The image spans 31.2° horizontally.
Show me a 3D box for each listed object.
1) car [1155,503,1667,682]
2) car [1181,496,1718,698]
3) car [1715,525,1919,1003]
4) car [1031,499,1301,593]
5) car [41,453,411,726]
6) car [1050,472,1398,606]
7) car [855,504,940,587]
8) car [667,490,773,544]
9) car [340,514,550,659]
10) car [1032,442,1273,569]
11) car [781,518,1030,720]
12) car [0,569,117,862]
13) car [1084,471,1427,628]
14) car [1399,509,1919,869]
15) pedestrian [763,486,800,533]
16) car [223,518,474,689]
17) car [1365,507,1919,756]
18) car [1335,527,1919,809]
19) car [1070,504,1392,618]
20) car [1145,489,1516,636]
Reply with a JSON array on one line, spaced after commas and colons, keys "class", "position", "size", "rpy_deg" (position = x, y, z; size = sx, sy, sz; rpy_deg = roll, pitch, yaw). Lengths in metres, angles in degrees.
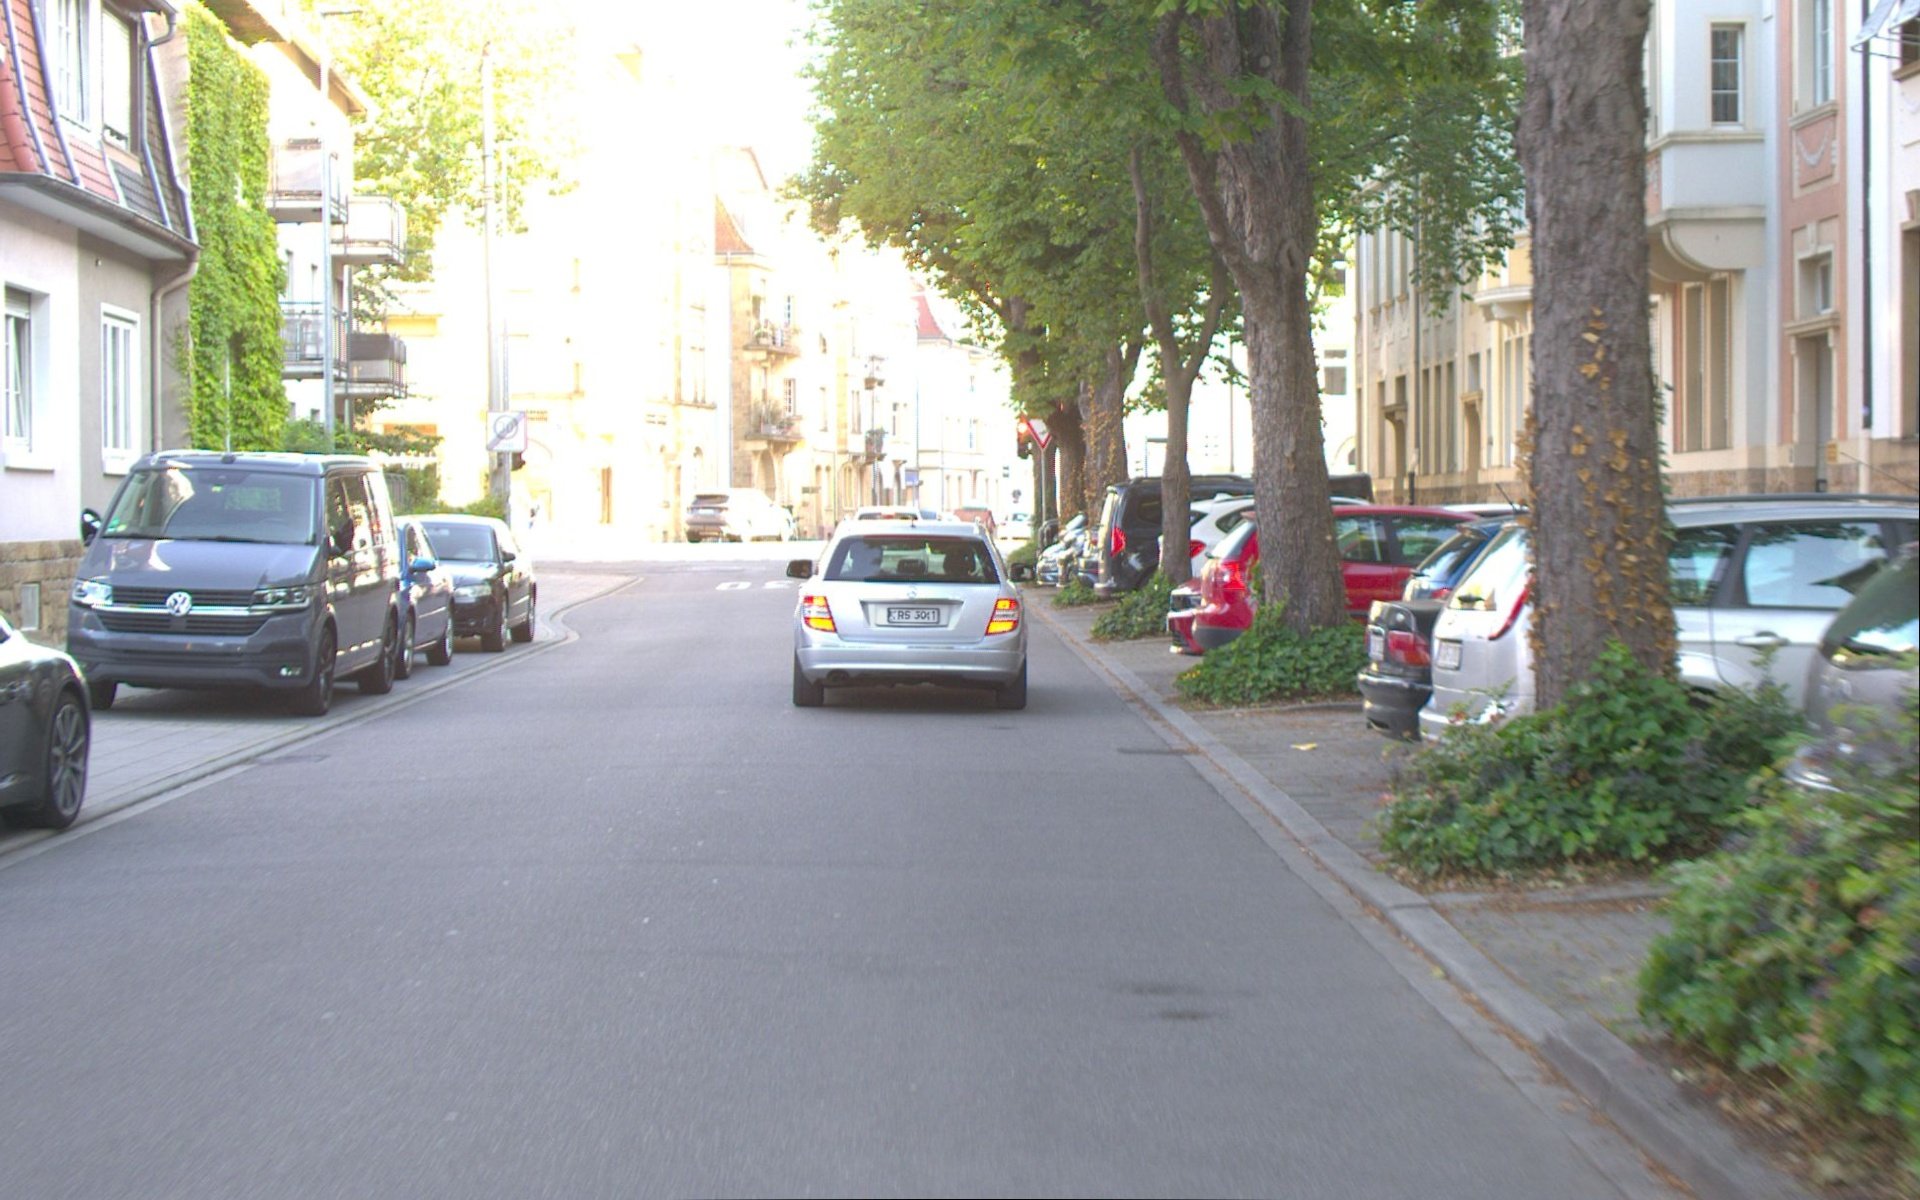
[{"class": "car", "position": [4.025, -0.093, 31.254], "size": [4.411, 1.414, 1.877], "rpy_deg": [-2, 2, 2]}, {"class": "car", "position": [3.984, -0.051, 28.528], "size": [4.190, 1.470, 1.852], "rpy_deg": [-2, 2, 2]}, {"class": "car", "position": [4.677, 0.445, 11.587], "size": [3.792, 1.433, 1.749], "rpy_deg": [-2, 2, -5]}, {"class": "car", "position": [3.405, -0.909, 57.300], "size": [4.287, 1.412, 1.877], "rpy_deg": [-2, 2, -3]}, {"class": "car", "position": [-5.675, -0.165, 27.184], "size": [1.982, 1.941, 4.852], "rpy_deg": [1, 2, -1]}, {"class": "car", "position": [3.972, -0.953, 52.374], "size": [5.053, 1.982, 2.072], "rpy_deg": [0, 2, -3]}, {"class": "car", "position": [-1.229, -1.105, 68.562], "size": [1.623, 1.564, 3.680], "rpy_deg": [0, 2, 0]}, {"class": "car", "position": [-7.231, -2.523, 104.017], "size": [1.995, 1.579, 3.998], "rpy_deg": [1, 2, 15]}, {"class": "car", "position": [-5.657, -0.196, 38.192], "size": [1.695, 1.442, 4.358], "rpy_deg": [1, 2, -1]}, {"class": "car", "position": [3.614, -1.807, 65.146], "size": [4.388, 2.356, 2.000], "rpy_deg": [0, 2, -3]}, {"class": "car", "position": [-0.396, 0.093, 26.774], "size": [1.784, 1.432, 3.851], "rpy_deg": [1, 1, 0]}, {"class": "car", "position": [-5.187, 0.549, 15.669], "size": [1.531, 1.314, 4.227], "rpy_deg": [1, 2, 2]}, {"class": "car", "position": [3.836, -0.681, 45.114], "size": [4.219, 1.889, 1.906], "rpy_deg": [-2, 2, -2]}, {"class": "car", "position": [4.296, 0.363, 16.193], "size": [4.146, 1.571, 1.713], "rpy_deg": [0, 2, -6]}, {"class": "pedestrian", "position": [-6.675, -3.393, 128.279], "size": [1.221, 1.715, 1.503], "rpy_deg": [1, 2, 3]}, {"class": "car", "position": [-5.775, -0.019, 32.884], "size": [1.653, 1.442, 4.238], "rpy_deg": [1, 2, -1]}, {"class": "car", "position": [4.484, 0.170, 21.315], "size": [3.793, 1.478, 1.561], "rpy_deg": [0, 2, 2]}, {"class": "car", "position": [4.052, 0.332, 18.758], "size": [3.793, 1.433, 1.818], "rpy_deg": [0, 2, -1]}, {"class": "car", "position": [3.755, -0.564, 48.118], "size": [4.287, 1.535, 1.877], "rpy_deg": [0, 2, -3]}, {"class": "car", "position": [4.301, -0.460, 40.367], "size": [4.110, 1.566, 1.877], "rpy_deg": [-2, 2, 0]}]
